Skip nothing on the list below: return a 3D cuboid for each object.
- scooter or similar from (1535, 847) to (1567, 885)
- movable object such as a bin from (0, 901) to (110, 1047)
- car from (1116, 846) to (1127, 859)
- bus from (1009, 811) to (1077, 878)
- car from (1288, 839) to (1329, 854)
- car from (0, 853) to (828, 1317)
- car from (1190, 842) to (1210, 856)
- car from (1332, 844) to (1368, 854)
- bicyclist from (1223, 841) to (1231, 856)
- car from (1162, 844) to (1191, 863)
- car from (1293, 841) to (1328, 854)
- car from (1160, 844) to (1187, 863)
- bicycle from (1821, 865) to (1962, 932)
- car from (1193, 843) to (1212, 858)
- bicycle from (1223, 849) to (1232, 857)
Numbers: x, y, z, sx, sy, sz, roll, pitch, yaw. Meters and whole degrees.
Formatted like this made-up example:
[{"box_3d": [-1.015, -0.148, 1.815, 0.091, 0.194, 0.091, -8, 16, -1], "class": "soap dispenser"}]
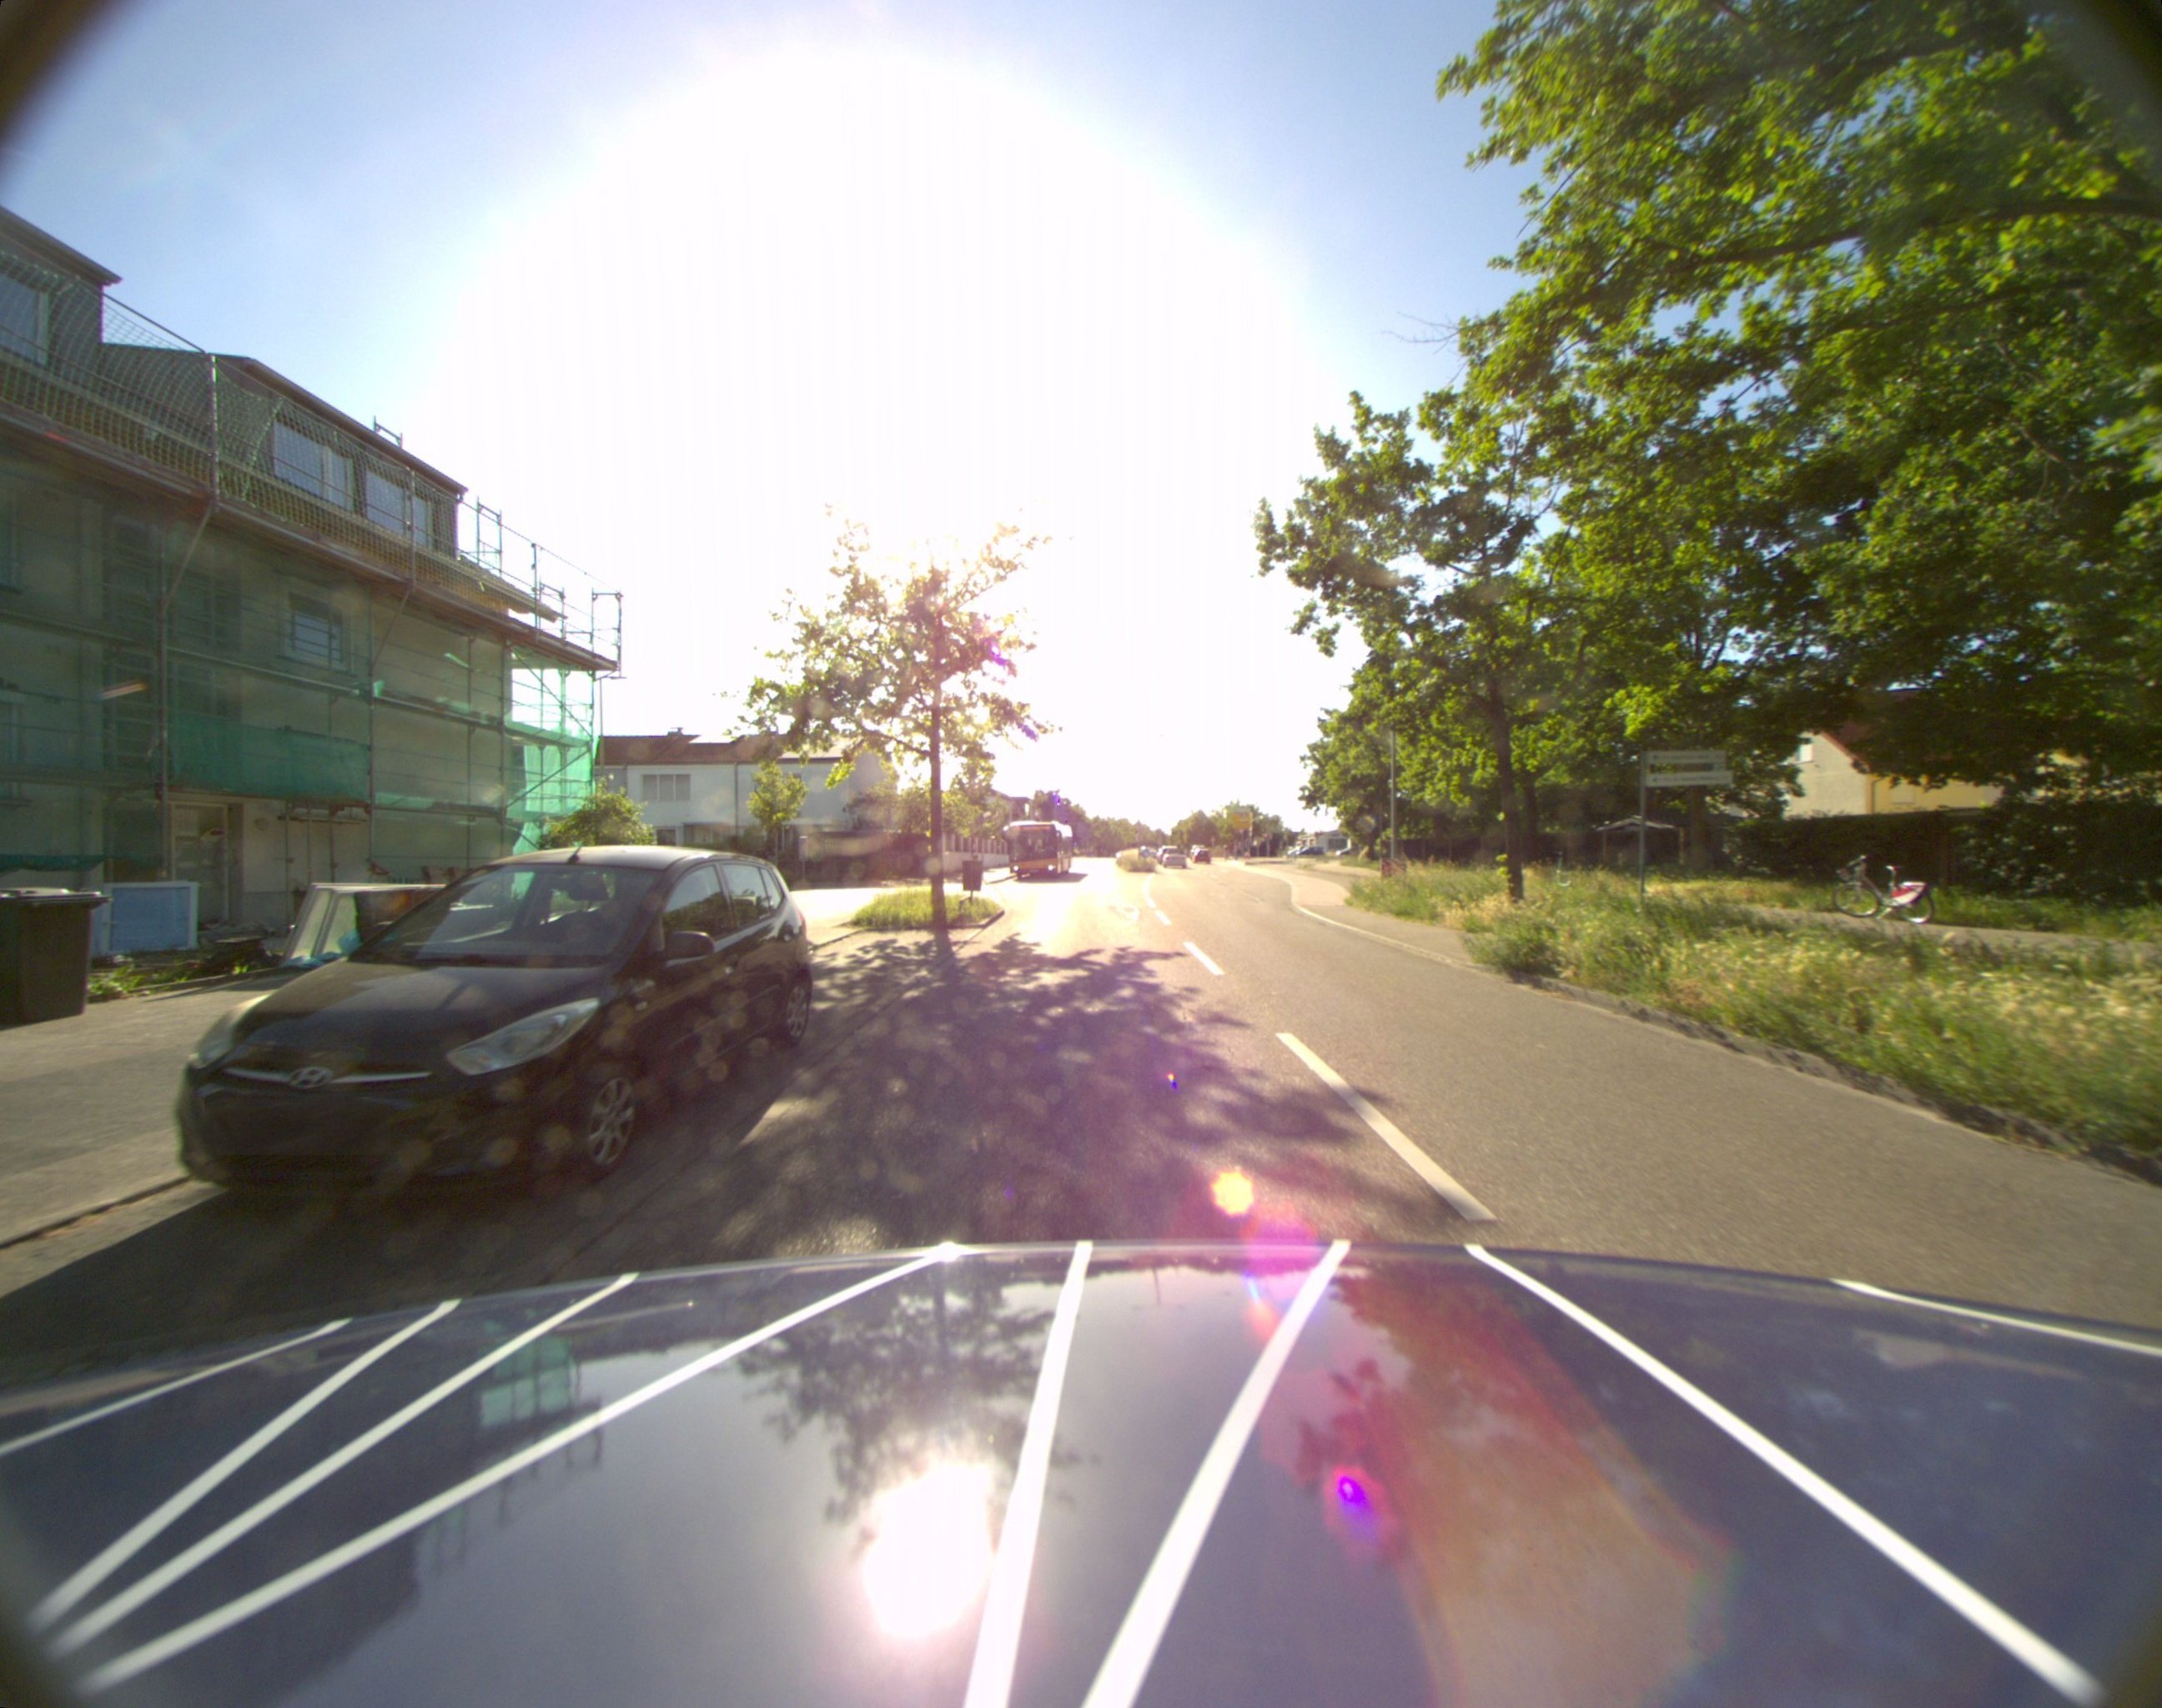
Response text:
[{"box_3d": [15.642, 0.383, 25.285, 0.539, 1.211, 1.415, -2, 0, 17], "class": "scooter or similar"}, {"box_3d": [-8.532, 0.939, 6.095, 0.605, 1.063, 0.646, -1, 1, 0], "class": "movable object such as a bin"}, {"box_3d": [6.433, -0.307, 121.242, 1.729, 2.002, 4.000, 0, 1, 3], "class": "car"}, {"box_3d": [-2.019, -0.647, 45.308, 2.764, 3.439, 12.397, 0, 2, 3], "class": "bus"}, {"box_3d": [32.111, -1.044, 107.408, 5.271, 2.001, 2.048, 0, -1, 1], "class": "car"}, {"box_3d": [-3.012, 0.821, 4.569, 1.676, 1.569, 3.751, 1, 1, 1], "class": "car"}, {"box_3d": [13.714, -0.600, 87.790, 1.998, 1.634, 4.531, 0, 1, 5], "class": "car"}, {"box_3d": [35.544, -0.637, 100.542, 4.036, 1.267, 1.894, 0, -1, 1], "class": "car"}, {"box_3d": [16.027, -0.595, 83.285, 0.746, 1.692, 1.242, 0, 1, 4], "class": "bicyclist"}, {"box_3d": [7.348, -0.060, 58.844, 1.998, 1.442, 4.400, 0, 1, 4], "class": "car"}, {"box_3d": [30.264, -0.800, 100.404, 4.036, 1.634, 1.894, 0, -1, 1], "class": "car"}, {"box_3d": [7.743, -0.057, 64.052, 1.998, 1.607, 4.531, 0, 1, 4], "class": "car"}, {"box_3d": [14.252, 0.745, 13.447, 0.506, 1.047, 1.880, 0, 1, 2], "class": "bicycle"}, {"box_3d": [12.014, -0.360, 75.233, 1.649, 1.474, 3.714, 0, 1, 5], "class": "car"}, {"box_3d": [16.028, -0.098, 83.307, 0.750, 0.843, 1.990, 0, 1, 4], "class": "bicycle"}]
